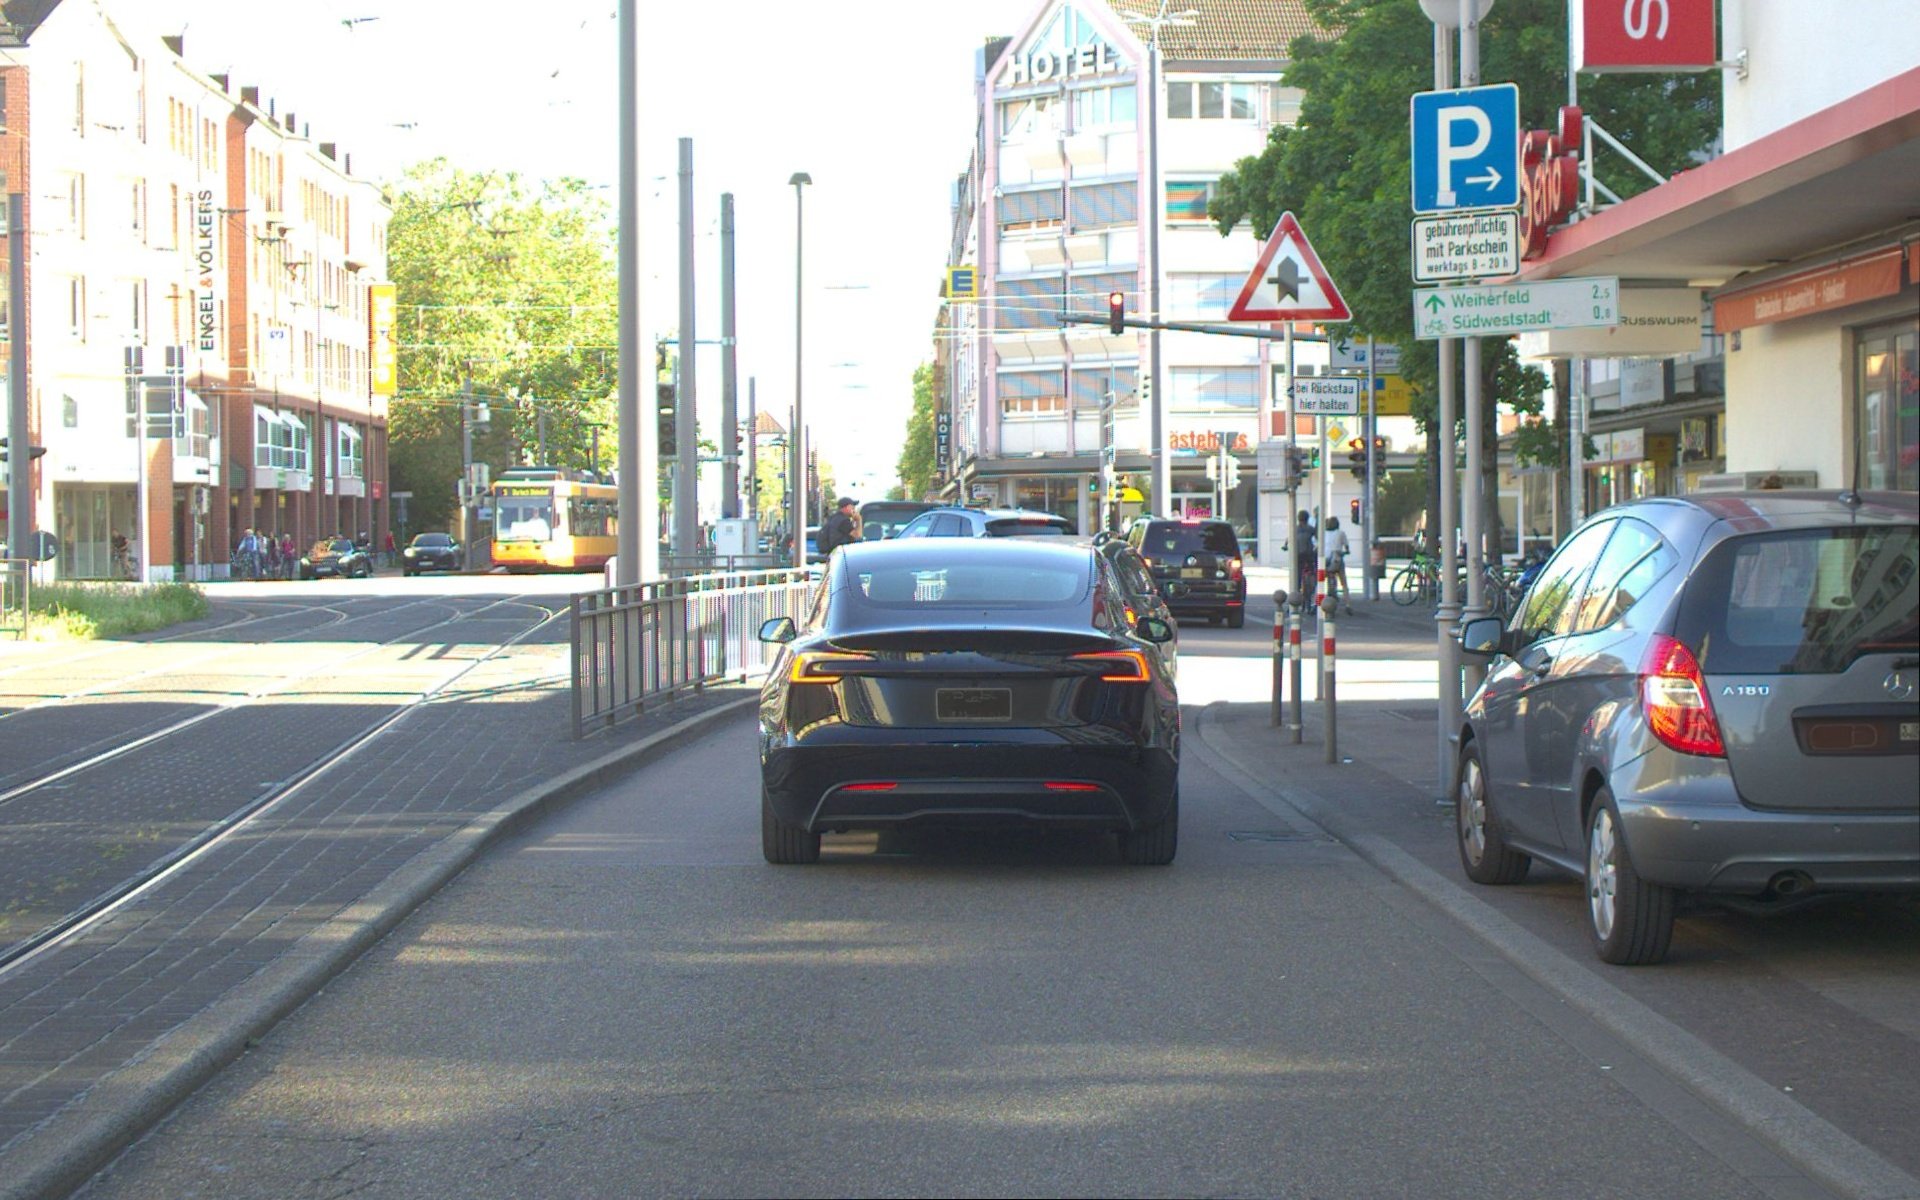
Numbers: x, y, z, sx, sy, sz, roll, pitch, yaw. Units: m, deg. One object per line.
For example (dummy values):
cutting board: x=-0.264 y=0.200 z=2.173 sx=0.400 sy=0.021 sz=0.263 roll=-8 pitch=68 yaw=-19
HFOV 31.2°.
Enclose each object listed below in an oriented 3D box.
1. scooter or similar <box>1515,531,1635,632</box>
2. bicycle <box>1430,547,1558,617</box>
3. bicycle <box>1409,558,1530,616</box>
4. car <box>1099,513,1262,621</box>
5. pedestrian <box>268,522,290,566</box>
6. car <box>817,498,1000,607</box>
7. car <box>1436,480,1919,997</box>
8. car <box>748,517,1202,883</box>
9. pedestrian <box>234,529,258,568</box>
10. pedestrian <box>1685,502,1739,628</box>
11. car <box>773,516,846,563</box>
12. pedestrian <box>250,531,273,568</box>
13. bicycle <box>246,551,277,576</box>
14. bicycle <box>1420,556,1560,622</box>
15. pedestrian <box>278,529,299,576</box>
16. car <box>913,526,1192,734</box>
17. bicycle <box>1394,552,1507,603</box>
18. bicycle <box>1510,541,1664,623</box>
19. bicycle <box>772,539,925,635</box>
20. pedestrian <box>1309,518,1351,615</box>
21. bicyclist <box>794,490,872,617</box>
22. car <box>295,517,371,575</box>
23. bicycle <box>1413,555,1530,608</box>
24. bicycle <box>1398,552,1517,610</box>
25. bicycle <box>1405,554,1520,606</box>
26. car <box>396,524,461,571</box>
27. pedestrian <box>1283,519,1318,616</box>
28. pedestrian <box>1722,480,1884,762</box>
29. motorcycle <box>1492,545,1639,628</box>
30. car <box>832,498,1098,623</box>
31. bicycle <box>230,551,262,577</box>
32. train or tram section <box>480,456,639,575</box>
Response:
scooter or similar: x=8.144 y=-0.241 z=45.500 sx=1.408 sy=1.312 sz=0.696 roll=0 pitch=-1 yaw=-26
bicycle: x=8.402 y=-0.284 z=54.109 sx=1.924 sy=1.093 sz=0.555 roll=0 pitch=1 yaw=1
bicycle: x=8.436 y=-0.214 z=56.999 sx=1.924 sy=0.947 sz=0.526 roll=0 pitch=1 yaw=1
car: x=3.287 y=-0.509 z=51.908 sx=1.824 sy=1.514 sz=3.650 roll=2 pitch=1 yaw=-6
pedestrian: x=-24.230 y=-2.002 z=122.399 sx=0.711 sy=1.549 sz=0.564 roll=2 pitch=1 yaw=-9
car: x=-0.820 y=-0.734 z=51.647 sx=1.824 sy=1.514 sz=4.219 roll=2 pitch=1 yaw=-14
car: x=2.927 y=0.383 z=12.785 sx=1.745 sy=1.626 sz=3.649 roll=-1 pitch=2 yaw=0
car: x=-0.005 y=0.385 z=16.120 sx=1.849 sy=1.479 sz=3.788 roll=1 pitch=1 yaw=-2
pedestrian: x=-24.482 y=-1.759 z=117.892 sx=0.711 sy=1.337 sz=0.666 roll=0 pitch=1 yaw=-1
pedestrian: x=9.894 y=-0.460 z=45.244 sx=0.595 sy=1.636 sz=0.466 roll=-1 pitch=1 yaw=1
car: x=-4.804 y=-1.931 z=110.208 sx=1.994 sy=1.415 sz=4.000 roll=2 pitch=1 yaw=2
pedestrian: x=-24.518 y=-1.779 z=120.685 sx=0.696 sy=1.303 sz=0.564 roll=-1 pitch=1 yaw=-2
bicycle: x=-24.516 y=-1.278 z=120.693 sx=0.702 sy=0.852 sz=2.053 roll=-1 pitch=1 yaw=-1
bicycle: x=8.019 y=-0.171 z=52.047 sx=2.051 sy=0.979 sz=0.483 roll=0 pitch=1 yaw=1
pedestrian: x=-24.336 y=-1.731 z=124.603 sx=0.711 sy=1.661 sz=0.564 roll=2 pitch=1 yaw=-9
car: x=0.789 y=0.171 z=26.582 sx=1.654 sy=1.413 sz=3.999 roll=2 pitch=2 yaw=8
bicycle: x=8.733 y=-0.403 z=61.232 sx=1.924 sy=0.887 sz=0.526 roll=0 pitch=1 yaw=1
bicycle: x=8.730 y=-0.255 z=47.879 sx=2.051 sy=1.118 sz=0.483 roll=0 pitch=1 yaw=1
bicycle: x=-1.339 y=-0.157 z=41.132 sx=1.727 sy=1.084 sz=0.678 roll=2 pitch=1 yaw=-8
pedestrian: x=6.212 y=-0.571 z=57.783 sx=0.629 sy=1.608 sz=0.643 roll=1 pitch=1 yaw=3
bicyclist: x=-1.521 y=-0.558 z=41.157 sx=0.836 sy=1.494 sz=0.560 roll=2 pitch=1 yaw=-8
car: x=-22.313 y=-1.925 z=122.458 sx=1.993 sy=2.007 sz=4.000 roll=-1 pitch=1 yaw=0
bicycle: x=8.789 y=-0.321 z=59.068 sx=1.924 sy=0.885 sz=0.526 roll=0 pitch=1 yaw=1
bicycle: x=8.391 y=-0.322 z=58.013 sx=1.924 sy=0.947 sz=0.526 roll=0 pitch=1 yaw=1
bicycle: x=8.768 y=-0.345 z=60.001 sx=1.924 sy=0.887 sz=0.526 roll=0 pitch=1 yaw=1
car: x=-19.395 y=-1.931 z=125.605 sx=1.751 sy=1.645 sz=4.000 roll=2 pitch=1 yaw=-1
pedestrian: x=5.966 y=-0.579 z=60.223 sx=0.562 sy=1.677 sz=0.750 roll=1 pitch=1 yaw=4
pedestrian: x=5.182 y=0.122 z=21.117 sx=0.818 sy=1.677 sz=0.714 roll=2 pitch=1 yaw=22
motorcycle: x=8.785 y=-0.199 z=49.892 sx=1.991 sy=1.124 sz=0.596 roll=2 pitch=1 yaw=-1
car: x=0.003 y=-0.541 z=45.032 sx=1.783 sy=1.514 sz=4.219 roll=1 pitch=1 yaw=-26
bicycle: x=-24.474 y=-1.231 z=117.886 sx=0.702 sy=0.852 sz=2.053 roll=-1 pitch=1 yaw=-1
train or tram section: x=-13.288 y=-2.767 z=115.464 sx=2.674 sy=3.703 sz=14.191 roll=2 pitch=1 yaw=4
